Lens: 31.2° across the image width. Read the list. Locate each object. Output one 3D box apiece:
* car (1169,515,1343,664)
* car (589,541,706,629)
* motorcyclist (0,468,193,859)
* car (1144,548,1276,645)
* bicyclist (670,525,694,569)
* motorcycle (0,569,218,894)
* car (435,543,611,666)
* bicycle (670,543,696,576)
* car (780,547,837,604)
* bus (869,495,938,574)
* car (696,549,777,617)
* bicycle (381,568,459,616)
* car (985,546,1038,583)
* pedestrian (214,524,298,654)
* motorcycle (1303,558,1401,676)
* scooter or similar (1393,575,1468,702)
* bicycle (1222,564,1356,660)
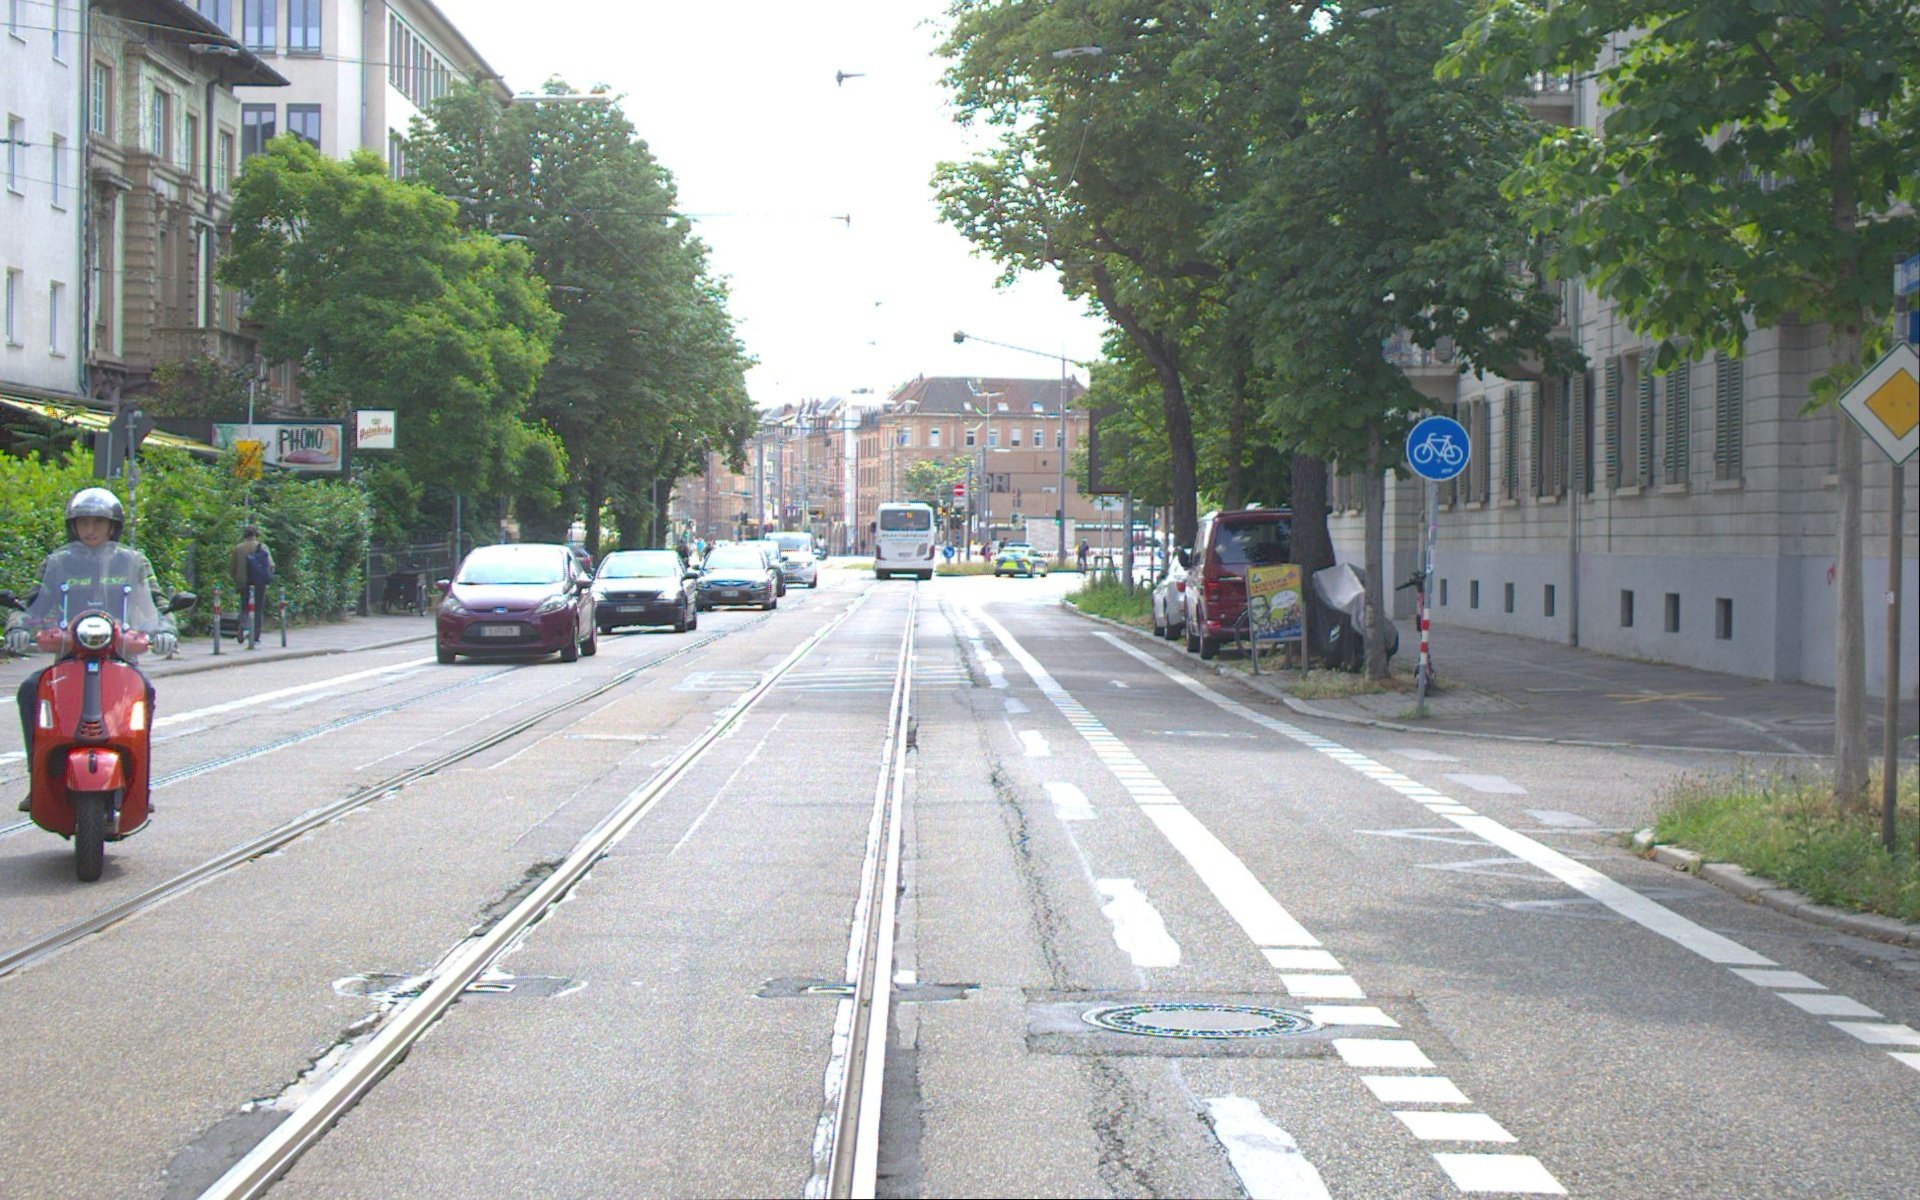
[{"bbox_3d":[4.008,-0.171,47.315,1.895,1.934,4.951,0,1,-1],"label":"car"},{"bbox_3d":[-5.222,-0.281,57.821,1.628,1.402,4.129,1,1,-1],"label":"car"},{"bbox_3d":[-3.905,0.272,15.494,0.739,1.708,0.921,1,1,-4],"label":"motorcyclist"},{"bbox_3d":[4.005,-0.084,55.683,1.707,1.493,4.789,0,1,-1],"label":"car"},{"bbox_3d":[-9.849,-1.873,121.751,0.599,1.487,0.882,-5,1,2],"label":"bicyclist"},{"bbox_3d":[-3.914,0.547,15.573,0.739,1.355,2.089,1,1,-3],"label":"motorcycle"},{"bbox_3d":[-5.391,0.020,42.767,1.594,1.435,3.936,-1,1,1],"label":"car"},{"bbox_3d":[-9.805,-1.440,121.816,0.602,1.093,2.023,-5,1,2],"label":"bicycle"},{"bbox_3d":[-5.127,-0.866,116.967,1.897,1.901,5.385,0,1,-2],"label":"car"},{"bbox_3d":[-2.575,-2.862,154.576,2.917,3.317,12.207,1,0,-1],"label":"bus"},{"bbox_3d":[-5.177,-0.408,80.079,1.727,1.535,4.277,0,1,-2],"label":"car"},{"bbox_3d":[-11.236,-0.174,71.644,1.142,0.905,2.989,4,1,-1],"label":"bicycle"},{"bbox_3d":[2.509,-1.730,165.751,2.130,1.678,4.101,2,2,6],"label":"car"},{"bbox_3d":[-10.458,-0.165,51.106,1.059,1.911,0.829,1,1,1],"label":"pedestrian"},{"bbox_3d":[4.540,0.176,39.967,0.857,1.317,2.445,1,1,0],"label":"motorcycle"},{"bbox_3d":[4.760,0.371,34.862,0.532,1.247,1.720,0,1,0],"label":"scooter or similar"},{"bbox_3d":[4.160,0.151,43.516,1.610,1.199,0.590,0,1,-3],"label":"bicycle"}]
